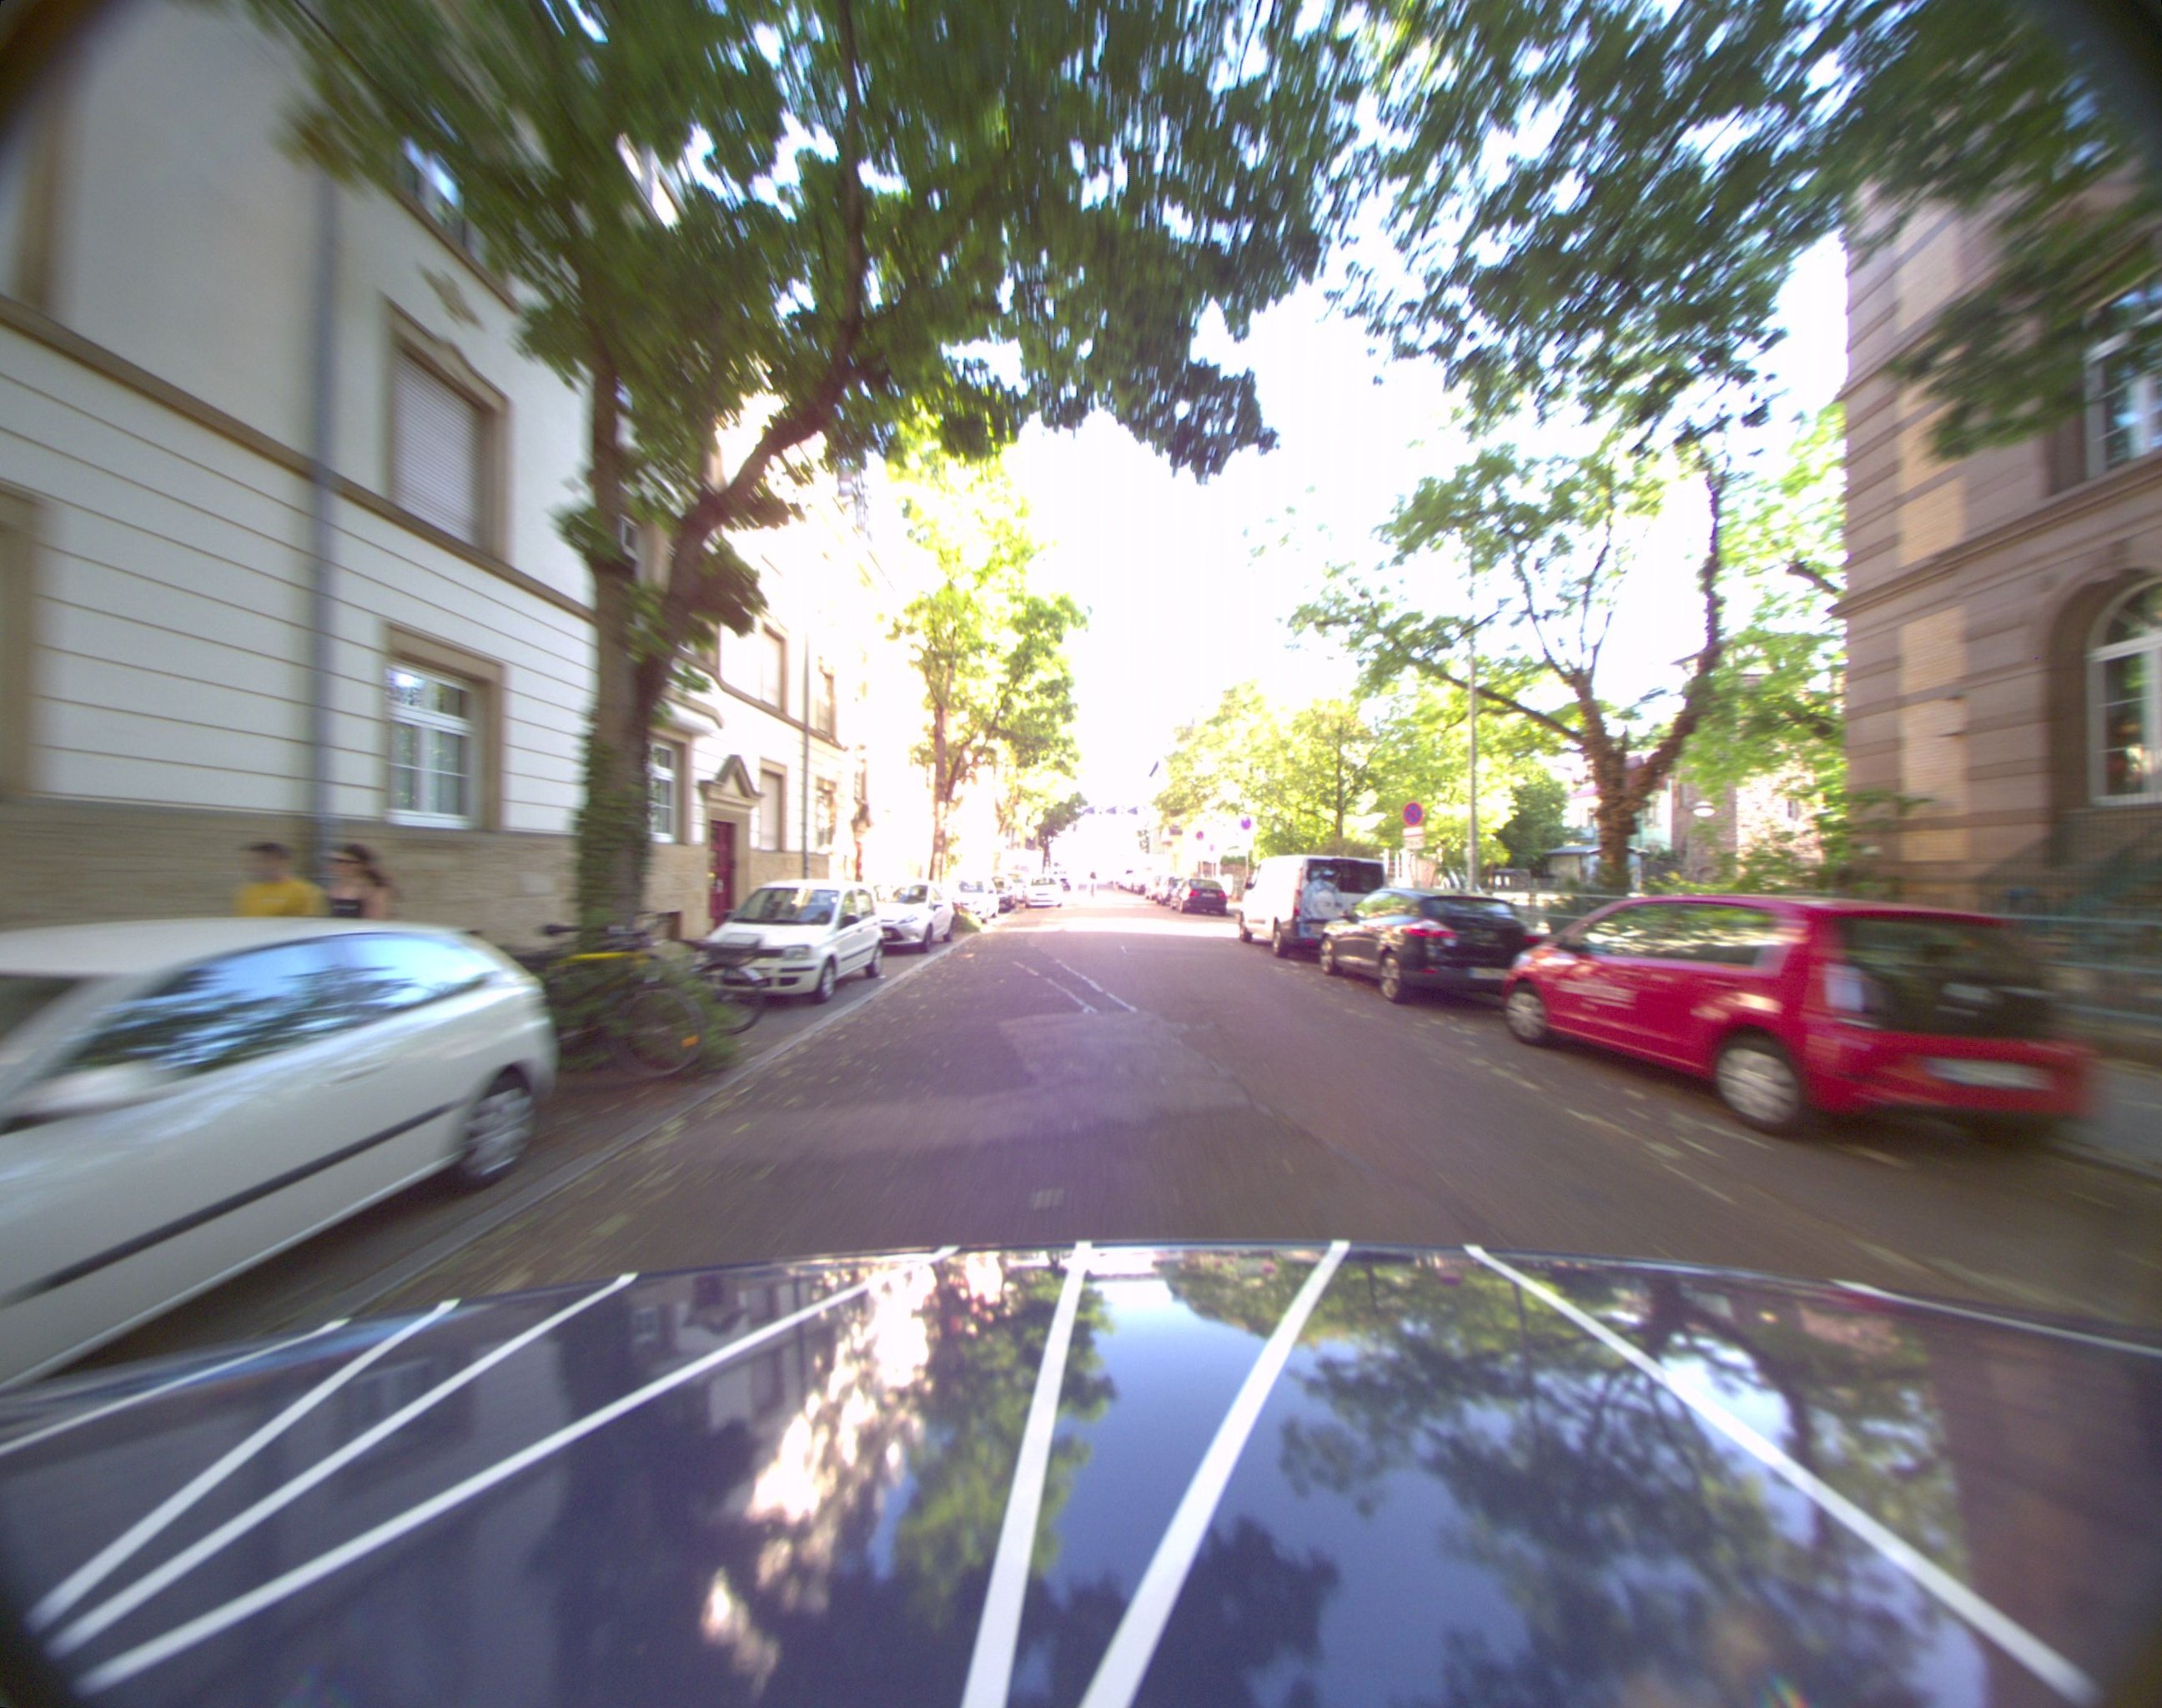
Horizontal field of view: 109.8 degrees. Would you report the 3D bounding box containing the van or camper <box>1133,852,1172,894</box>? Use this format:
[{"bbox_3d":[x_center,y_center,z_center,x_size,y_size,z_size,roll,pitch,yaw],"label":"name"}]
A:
[{"bbox_3d":[5.013,1.320,54.118,2.134,2.752,5.852,2,-1,0],"label":"van or camper"}]

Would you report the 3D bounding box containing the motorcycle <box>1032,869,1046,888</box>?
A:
[{"bbox_3d":[-3.354,1.915,60.775,0.932,1.477,2.138,0,-1,2],"label":"motorcycle"}]

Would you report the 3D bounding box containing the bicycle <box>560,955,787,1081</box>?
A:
[{"bbox_3d":[-3.740,1.496,7.056,1.774,1.033,0.606,-1,0,1],"label":"bicycle"}]

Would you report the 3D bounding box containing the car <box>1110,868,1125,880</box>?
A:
[{"bbox_3d":[5.086,2.759,105.383,1.770,1.444,4.208,3,-1,0],"label":"car"}]

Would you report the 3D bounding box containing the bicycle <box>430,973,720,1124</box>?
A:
[{"bbox_3d":[-3.815,1.454,5.835,1.719,0.944,0.733,1,-1,1],"label":"bicycle"}]

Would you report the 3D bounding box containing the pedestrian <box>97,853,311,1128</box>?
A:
[{"bbox_3d":[-5.785,0.849,5.053,0.597,1.691,0.689,1,0,2],"label":"pedestrian"}]

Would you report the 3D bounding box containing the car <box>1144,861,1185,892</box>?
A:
[{"bbox_3d":[4.721,1.263,43.271,1.785,1.581,4.469,2,-1,0],"label":"car"}]

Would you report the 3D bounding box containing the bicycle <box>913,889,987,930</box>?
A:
[{"bbox_3d":[-3.742,1.589,21.800,1.974,1.066,0.599,2,0,1],"label":"bicycle"}]

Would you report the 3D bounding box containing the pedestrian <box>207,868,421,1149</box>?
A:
[{"bbox_3d":[-5.114,0.961,5.129,0.521,1.724,0.878,1,0,2],"label":"pedestrian"}]

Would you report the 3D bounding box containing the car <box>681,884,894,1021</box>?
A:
[{"bbox_3d":[-3.843,1.211,10.583,1.524,1.501,3.544,0,-1,1],"label":"car"}]

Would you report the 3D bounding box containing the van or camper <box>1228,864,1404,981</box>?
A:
[{"bbox_3d":[4.700,1.257,16.232,1.926,1.968,5.462,3,-1,-1],"label":"van or camper"}]

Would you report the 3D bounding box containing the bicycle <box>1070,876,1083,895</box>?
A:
[{"bbox_3d":[-0.257,1.915,46.069,0.707,1.039,1.858,-3,0,0],"label":"bicycle"}]

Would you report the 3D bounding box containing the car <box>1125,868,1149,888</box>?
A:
[{"bbox_3d":[4.760,2.034,64.956,1.639,1.542,4.089,1,0,0],"label":"car"}]

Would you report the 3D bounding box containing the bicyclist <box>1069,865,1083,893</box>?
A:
[{"bbox_3d":[-0.293,1.497,46.027,0.716,1.679,0.981,-2,0,1],"label":"bicyclist"}]

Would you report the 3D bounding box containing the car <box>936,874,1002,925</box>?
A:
[{"bbox_3d":[-3.668,1.463,25.416,1.600,1.479,3.748,1,-1,1],"label":"car"}]

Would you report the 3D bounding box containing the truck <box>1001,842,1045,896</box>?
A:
[{"bbox_3d":[-3.459,0.912,46.458,2.079,2.951,6.109,3,-1,0],"label":"truck"}]

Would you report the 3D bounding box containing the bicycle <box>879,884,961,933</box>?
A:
[{"bbox_3d":[-4.293,1.446,20.323,1.974,1.222,0.760,2,0,1],"label":"bicycle"}]

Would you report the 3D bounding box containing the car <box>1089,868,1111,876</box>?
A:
[{"bbox_3d":[3.340,3.119,132.123,3.613,1.440,1.553,0,0,-8],"label":"car"}]

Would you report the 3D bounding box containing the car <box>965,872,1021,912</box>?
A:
[{"bbox_3d":[-3.584,1.530,31.638,1.791,1.504,4.460,-1,-1,0],"label":"car"}]

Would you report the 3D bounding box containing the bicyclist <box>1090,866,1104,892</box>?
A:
[{"bbox_3d":[0.996,1.507,46.619,0.757,1.556,0.981,-1,0,-2],"label":"bicyclist"}]

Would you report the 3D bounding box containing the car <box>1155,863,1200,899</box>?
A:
[{"bbox_3d":[4.632,1.289,37.066,1.680,1.563,4.152,3,-1,1],"label":"car"}]

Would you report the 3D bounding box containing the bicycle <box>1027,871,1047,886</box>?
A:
[{"bbox_3d":[-3.823,2.128,66.359,1.763,1.297,0.586,0,0,-1],"label":"bicycle"}]

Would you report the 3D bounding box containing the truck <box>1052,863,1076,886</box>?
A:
[{"bbox_3d":[-1.453,1.751,66.608,1.833,1.937,5.541,0,-1,1],"label":"truck"}]

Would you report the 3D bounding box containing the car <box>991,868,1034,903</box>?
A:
[{"bbox_3d":[-3.531,1.621,40.041,1.890,1.705,4.944,1,-1,-1],"label":"car"}]

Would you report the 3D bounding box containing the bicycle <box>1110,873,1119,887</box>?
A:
[{"bbox_3d":[2.543,1.984,58.291,0.666,1.070,1.686,0,-1,3],"label":"bicycle"}]

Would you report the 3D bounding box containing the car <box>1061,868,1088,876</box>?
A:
[{"bbox_3d":[-1.205,3.095,131.546,4.493,1.498,1.944,0,-1,-6],"label":"car"}]

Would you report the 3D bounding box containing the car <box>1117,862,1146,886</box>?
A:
[{"bbox_3d":[4.993,1.964,75.762,2.257,2.155,5.243,3,-1,-2],"label":"car"}]

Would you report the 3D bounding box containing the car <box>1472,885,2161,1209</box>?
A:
[{"bbox_3d":[4.861,1.052,5.811,1.606,1.451,4.028,3,-1,0],"label":"car"}]

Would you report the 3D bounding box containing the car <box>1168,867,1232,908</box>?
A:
[{"bbox_3d":[4.714,1.298,30.765,1.718,1.387,4.780,4,-1,-1],"label":"car"}]

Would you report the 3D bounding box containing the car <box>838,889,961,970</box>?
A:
[{"bbox_3d":[-3.774,1.522,16.516,1.626,1.386,4.158,1,-1,1],"label":"car"}]

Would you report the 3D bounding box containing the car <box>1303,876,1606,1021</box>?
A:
[{"bbox_3d":[4.803,1.115,10.714,2.006,1.449,4.606,2,-1,1],"label":"car"}]

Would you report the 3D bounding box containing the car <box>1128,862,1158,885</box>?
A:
[{"bbox_3d":[4.836,1.551,59.887,1.880,1.675,4.970,2,-1,0],"label":"car"}]

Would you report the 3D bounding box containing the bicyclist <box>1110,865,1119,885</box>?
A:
[{"bbox_3d":[2.545,1.602,58.203,0.653,1.500,0.625,-1,0,2],"label":"bicyclist"}]

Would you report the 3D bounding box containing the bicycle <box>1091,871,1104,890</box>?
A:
[{"bbox_3d":[1.007,1.626,46.720,0.741,1.053,1.858,-1,0,-2],"label":"bicycle"}]

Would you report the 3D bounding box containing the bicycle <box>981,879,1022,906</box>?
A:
[{"bbox_3d":[-3.779,1.822,36.181,1.815,1.160,0.569,2,0,0],"label":"bicycle"}]

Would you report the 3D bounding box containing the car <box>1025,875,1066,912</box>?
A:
[{"bbox_3d":[-1.584,1.752,34.944,1.683,1.535,3.800,-1,-1,0],"label":"car"}]

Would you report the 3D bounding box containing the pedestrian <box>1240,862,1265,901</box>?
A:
[{"bbox_3d":[6.991,1.128,31.005,0.883,1.568,0.529,0,0,1],"label":"pedestrian"}]

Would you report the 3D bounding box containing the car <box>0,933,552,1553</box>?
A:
[{"bbox_3d":[-3.747,1.155,2.410,1.615,1.469,3.869,0,-1,-4],"label":"car"}]
